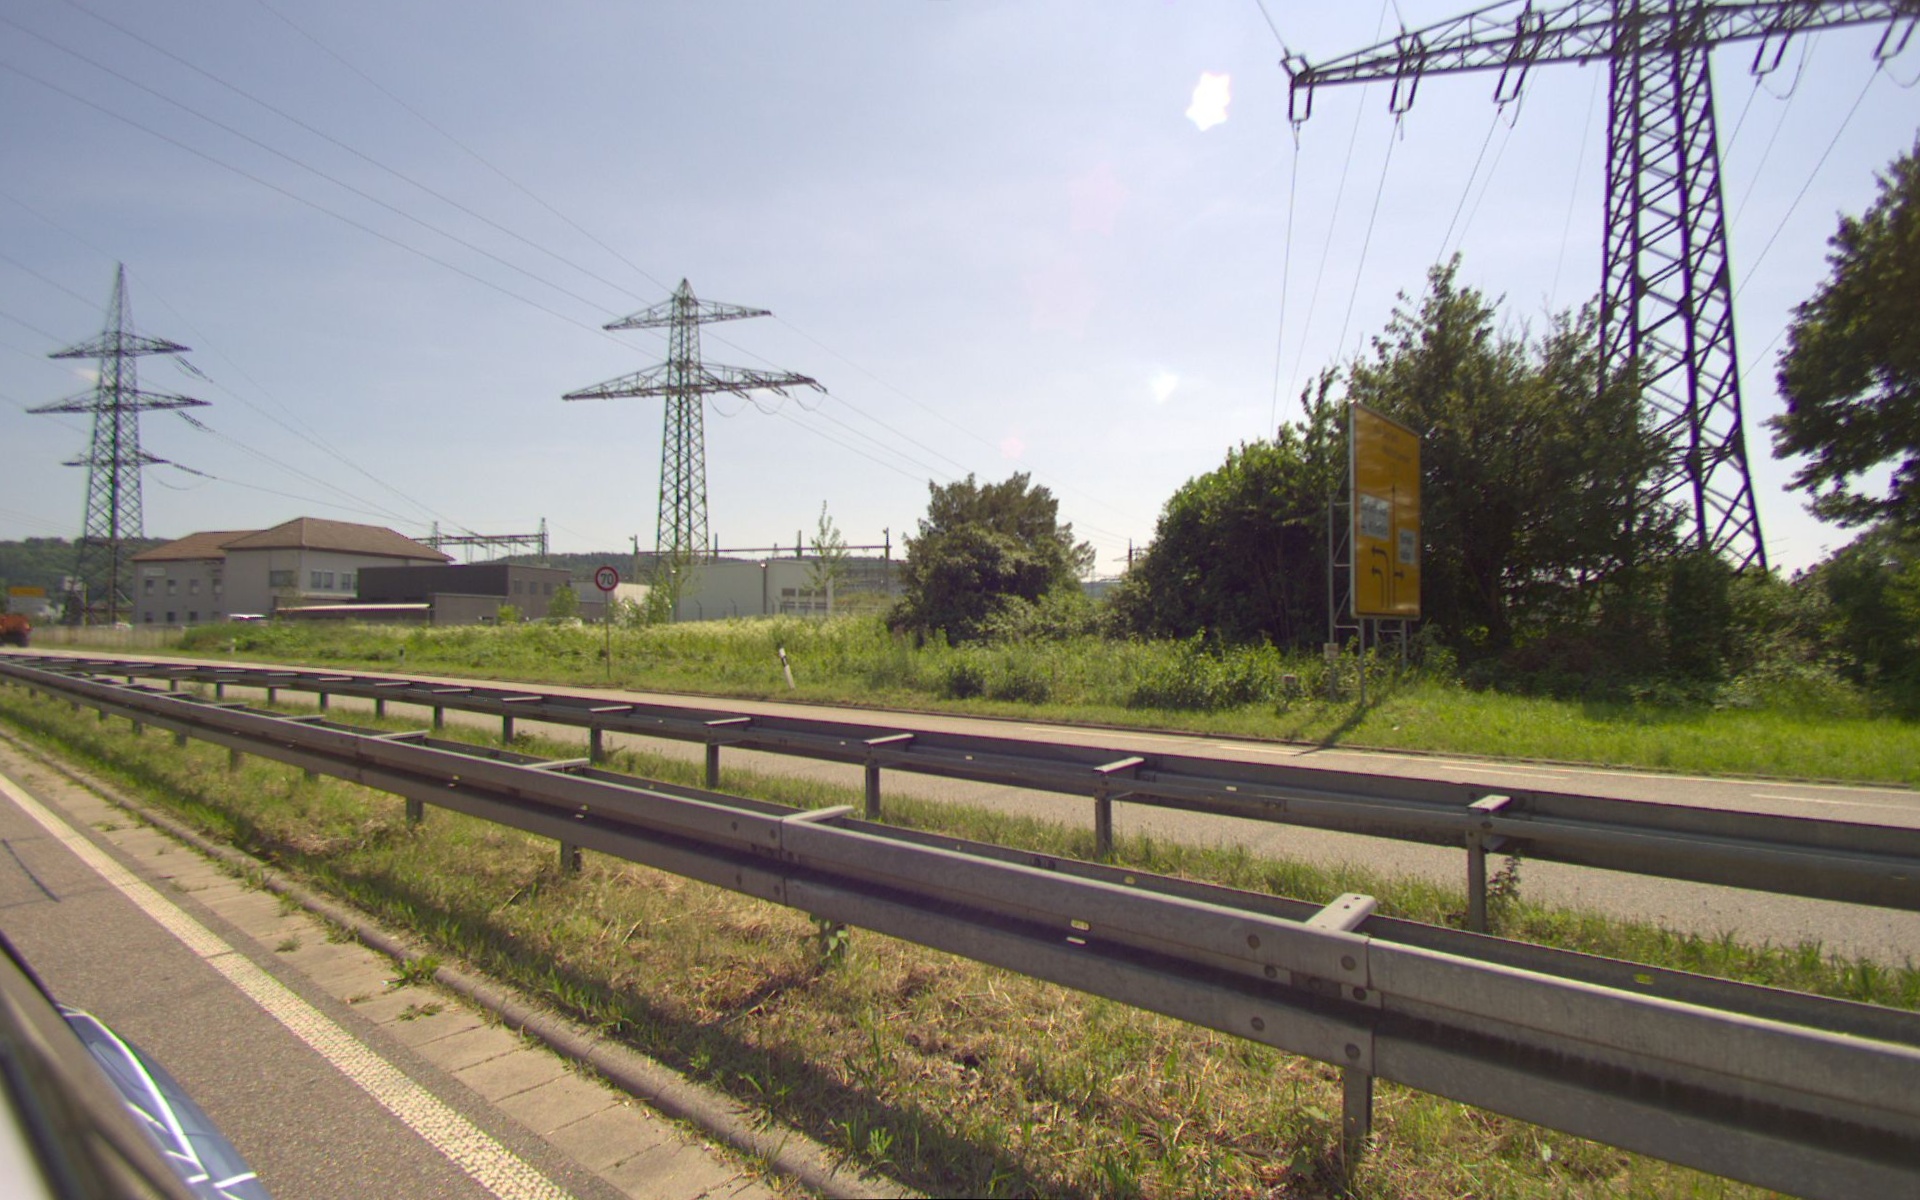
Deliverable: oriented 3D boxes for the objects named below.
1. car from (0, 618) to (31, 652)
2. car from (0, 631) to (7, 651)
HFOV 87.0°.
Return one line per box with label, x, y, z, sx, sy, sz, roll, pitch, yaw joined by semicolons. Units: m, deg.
car;-87.880;3.237;93.236;5.634;3.084;2.574;-2;-3;40
car;-95.420;4.051;99.423;3.993;1.929;1.975;0;0;37
